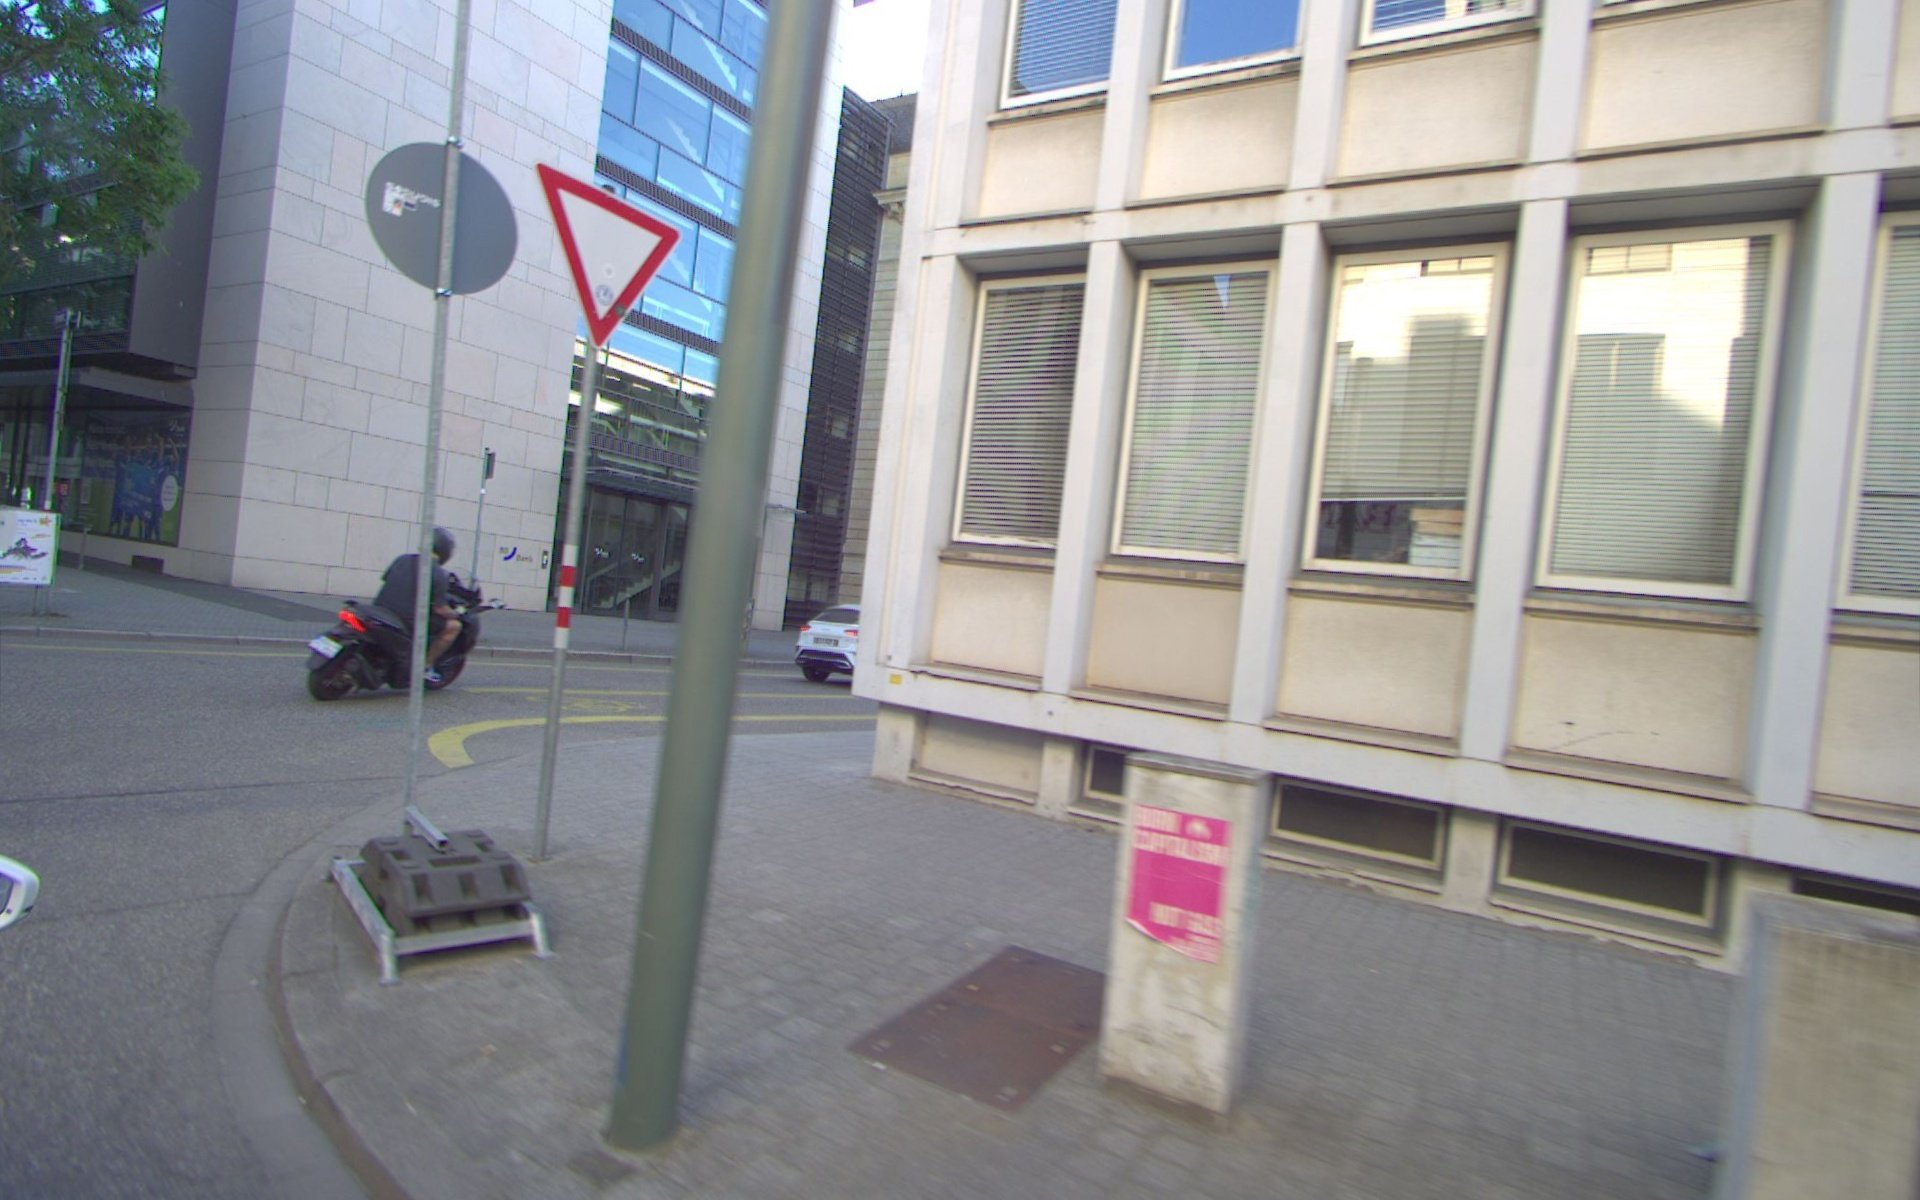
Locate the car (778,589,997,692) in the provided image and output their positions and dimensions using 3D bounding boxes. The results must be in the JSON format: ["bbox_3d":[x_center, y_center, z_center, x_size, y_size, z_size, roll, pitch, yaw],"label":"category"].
[{"bbox_3d":[-1.248,0.844,19.192,1.799,1.560,4.253,7,-1,34],"label":"car"}]

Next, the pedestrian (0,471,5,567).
[{"bbox_3d":[-17.815,-1.501,17.956,0.821,1.729,0.905,6,2,32],"label":"pedestrian"}]

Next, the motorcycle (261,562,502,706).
[{"bbox_3d":[-5.286,0.328,9.364,0.858,1.122,1.842,6,-2,10],"label":"motorcycle"}]

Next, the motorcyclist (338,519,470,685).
[{"bbox_3d":[-5.227,0.028,9.473,0.853,1.444,0.456,6,-1,10],"label":"motorcyclist"}]
